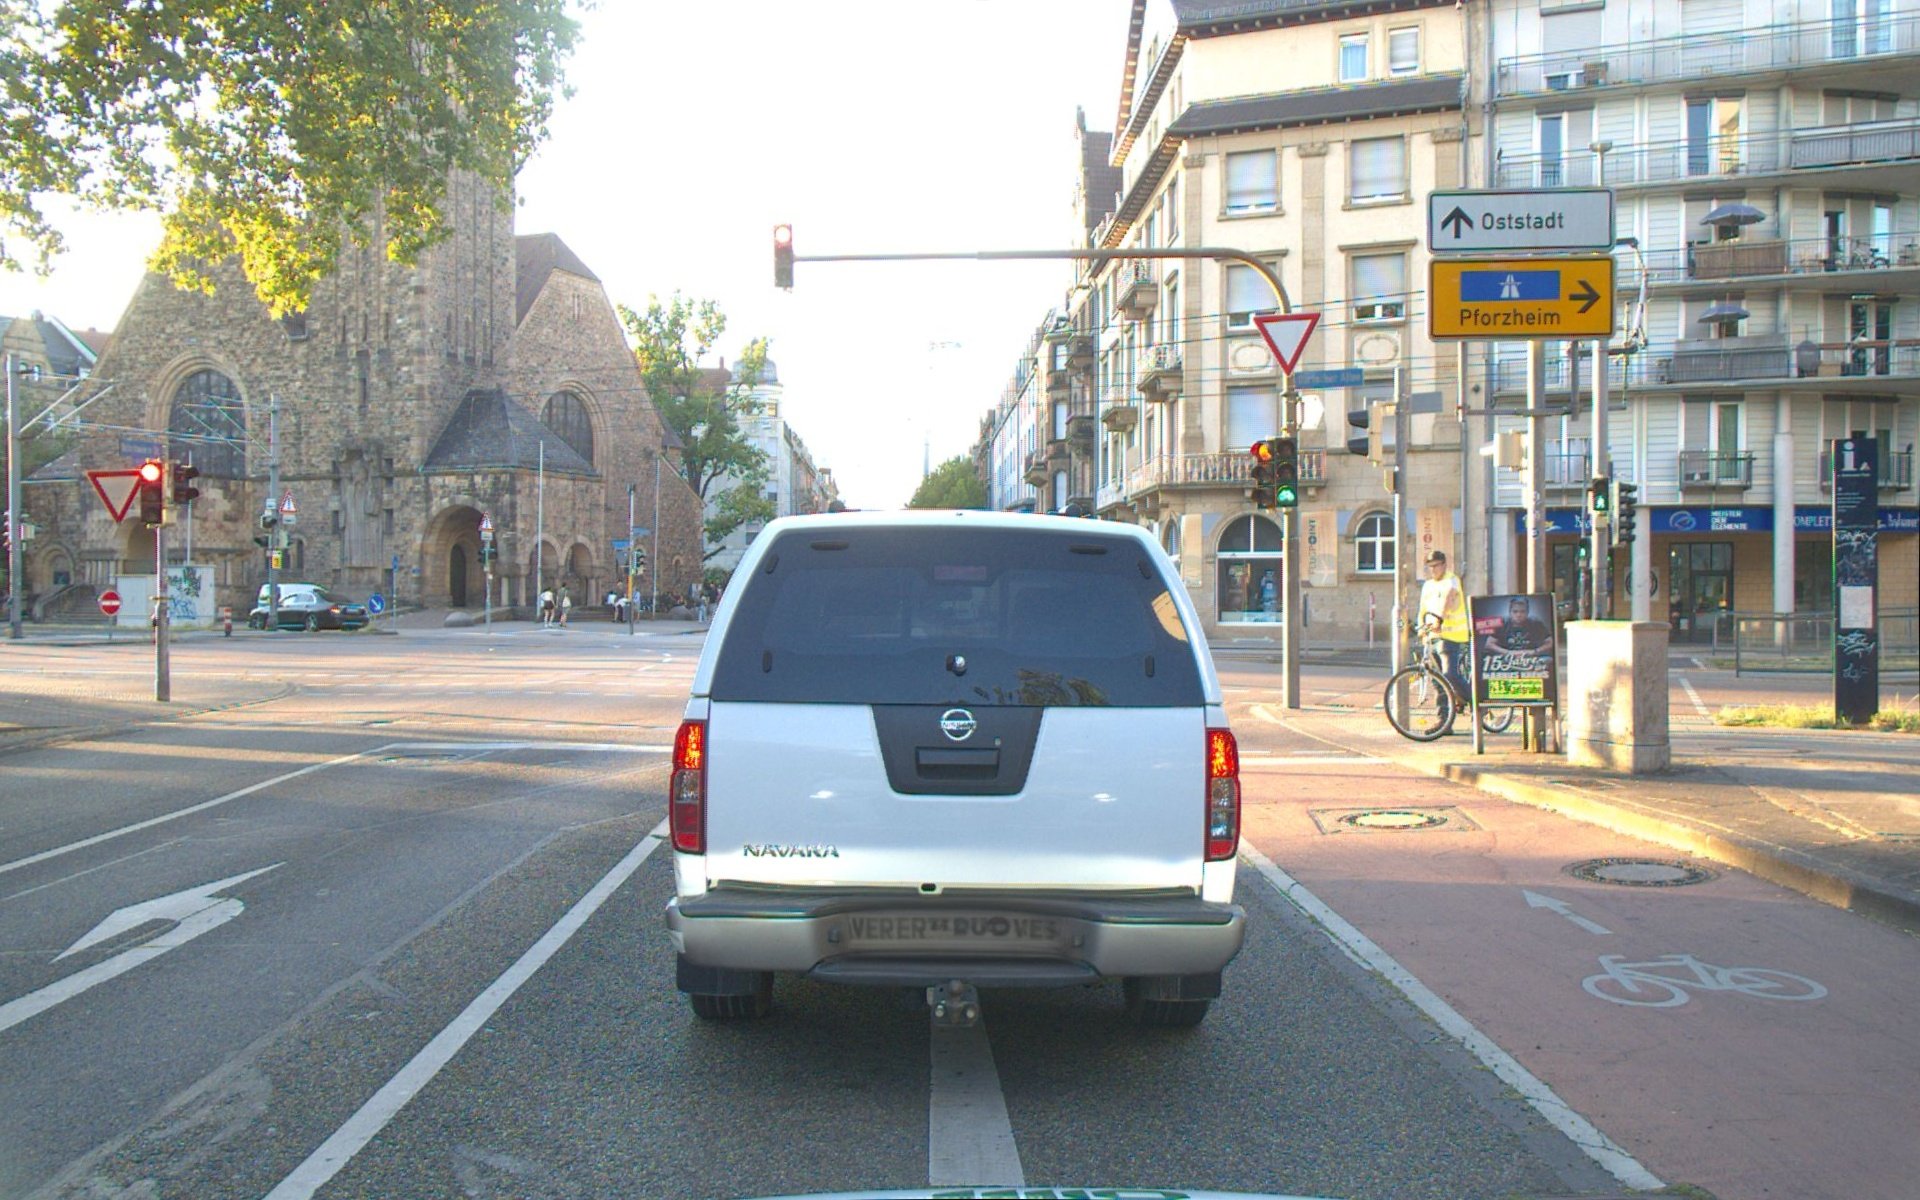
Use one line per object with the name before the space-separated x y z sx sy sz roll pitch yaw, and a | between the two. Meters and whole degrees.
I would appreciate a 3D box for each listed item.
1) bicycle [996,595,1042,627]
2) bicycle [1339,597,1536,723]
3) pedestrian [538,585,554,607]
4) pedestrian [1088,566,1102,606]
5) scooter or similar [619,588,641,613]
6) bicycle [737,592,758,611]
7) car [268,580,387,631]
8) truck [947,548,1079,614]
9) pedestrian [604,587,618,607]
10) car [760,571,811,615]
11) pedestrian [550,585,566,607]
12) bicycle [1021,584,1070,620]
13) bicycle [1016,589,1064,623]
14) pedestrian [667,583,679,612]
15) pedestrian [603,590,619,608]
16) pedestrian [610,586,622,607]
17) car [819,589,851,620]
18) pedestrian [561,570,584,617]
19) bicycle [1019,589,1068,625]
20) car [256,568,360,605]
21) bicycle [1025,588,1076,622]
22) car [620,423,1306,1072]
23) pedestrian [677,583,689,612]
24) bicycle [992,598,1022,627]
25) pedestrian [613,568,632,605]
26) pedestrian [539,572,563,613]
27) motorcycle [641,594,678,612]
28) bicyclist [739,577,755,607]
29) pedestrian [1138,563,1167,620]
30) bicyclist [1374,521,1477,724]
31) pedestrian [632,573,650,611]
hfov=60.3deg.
bicycle | 2.232 0.426 62.713 1.692 1.102 0.317 -3 0 -3
bicycle | 4.534 0.549 15.641 2.046 1.129 0.621 1 0 -34
pedestrian | -18.691 -0.198 74.674 0.511 0.977 0.479 1 0 18
pedestrian | 5.745 -0.599 70.302 0.517 1.683 0.547 1 0 -1
scooter or similar | -15.213 0.001 76.250 0.620 1.122 1.079 1 2 14
bicycle | -12.110 0.102 94.143 0.591 1.062 1.930 1 0 -25
car | -22.588 0.180 59.041 3.917 1.646 1.993 1 -3 34
truck | 2.253 -0.760 68.812 5.630 2.610 2.250 0 0 -45
pedestrian | -16.919 -0.154 80.136 0.510 0.977 0.479 1 0 16
car | -7.798 -0.333 74.114 1.953 1.815 4.796 1 2 -3
pedestrian | -18.077 -0.190 74.408 0.511 0.977 0.479 1 0 18
bicycle | 3.262 0.067 63.207 1.781 1.259 0.488 -3 0 -3
bicycle | 3.182 0.249 65.778 1.818 1.259 0.530 -3 0 -3
pedestrian | -16.880 -0.141 97.340 0.631 1.725 0.560 1 0 -10
pedestrian | -18.619 -0.053 88.230 0.540 0.977 0.710 1 0 20
pedestrian | -16.731 -0.162 80.367 0.513 0.977 0.477 1 0 -17
car | -8.531 0.308 112.882 1.953 2.049 4.948 0 1 -2
pedestrian | -16.162 -0.283 69.025 0.796 1.934 0.666 1 0 -3
bicycle | 3.224 0.276 63.916 1.781 1.259 0.477 -3 0 -3
car | -29.176 -0.584 74.106 1.679 1.543 4.454 1 0 23
bicycle | 3.403 0.195 62.268 1.781 1.170 0.636 -3 0 -3
car | -0.014 0.436 6.782 1.953 1.841 3.999 1 0 -1
pedestrian | -16.686 -0.172 99.559 0.630 1.725 0.561 1 0 -2
bicycle | 1.804 0.467 63.590 1.055 1.042 0.317 -3 0 -3
pedestrian | -15.717 -0.618 77.038 0.620 1.728 0.603 1 0 14
pedestrian | -17.069 -0.299 69.006 0.796 1.699 0.859 1 0 -3
motorcycle | -17.393 0.197 95.733 2.119 1.005 0.594 1 0 19
bicyclist | -12.116 -0.471 94.145 0.591 1.673 0.955 1 0 -26
pedestrian | 6.172 -0.263 53.019 0.771 1.810 0.543 1 -1 24
bicyclist | 4.376 0.210 15.544 0.690 1.856 0.621 1 -1 -33
pedestrian | -14.837 -0.371 77.008 0.620 1.728 0.603 1 0 12
